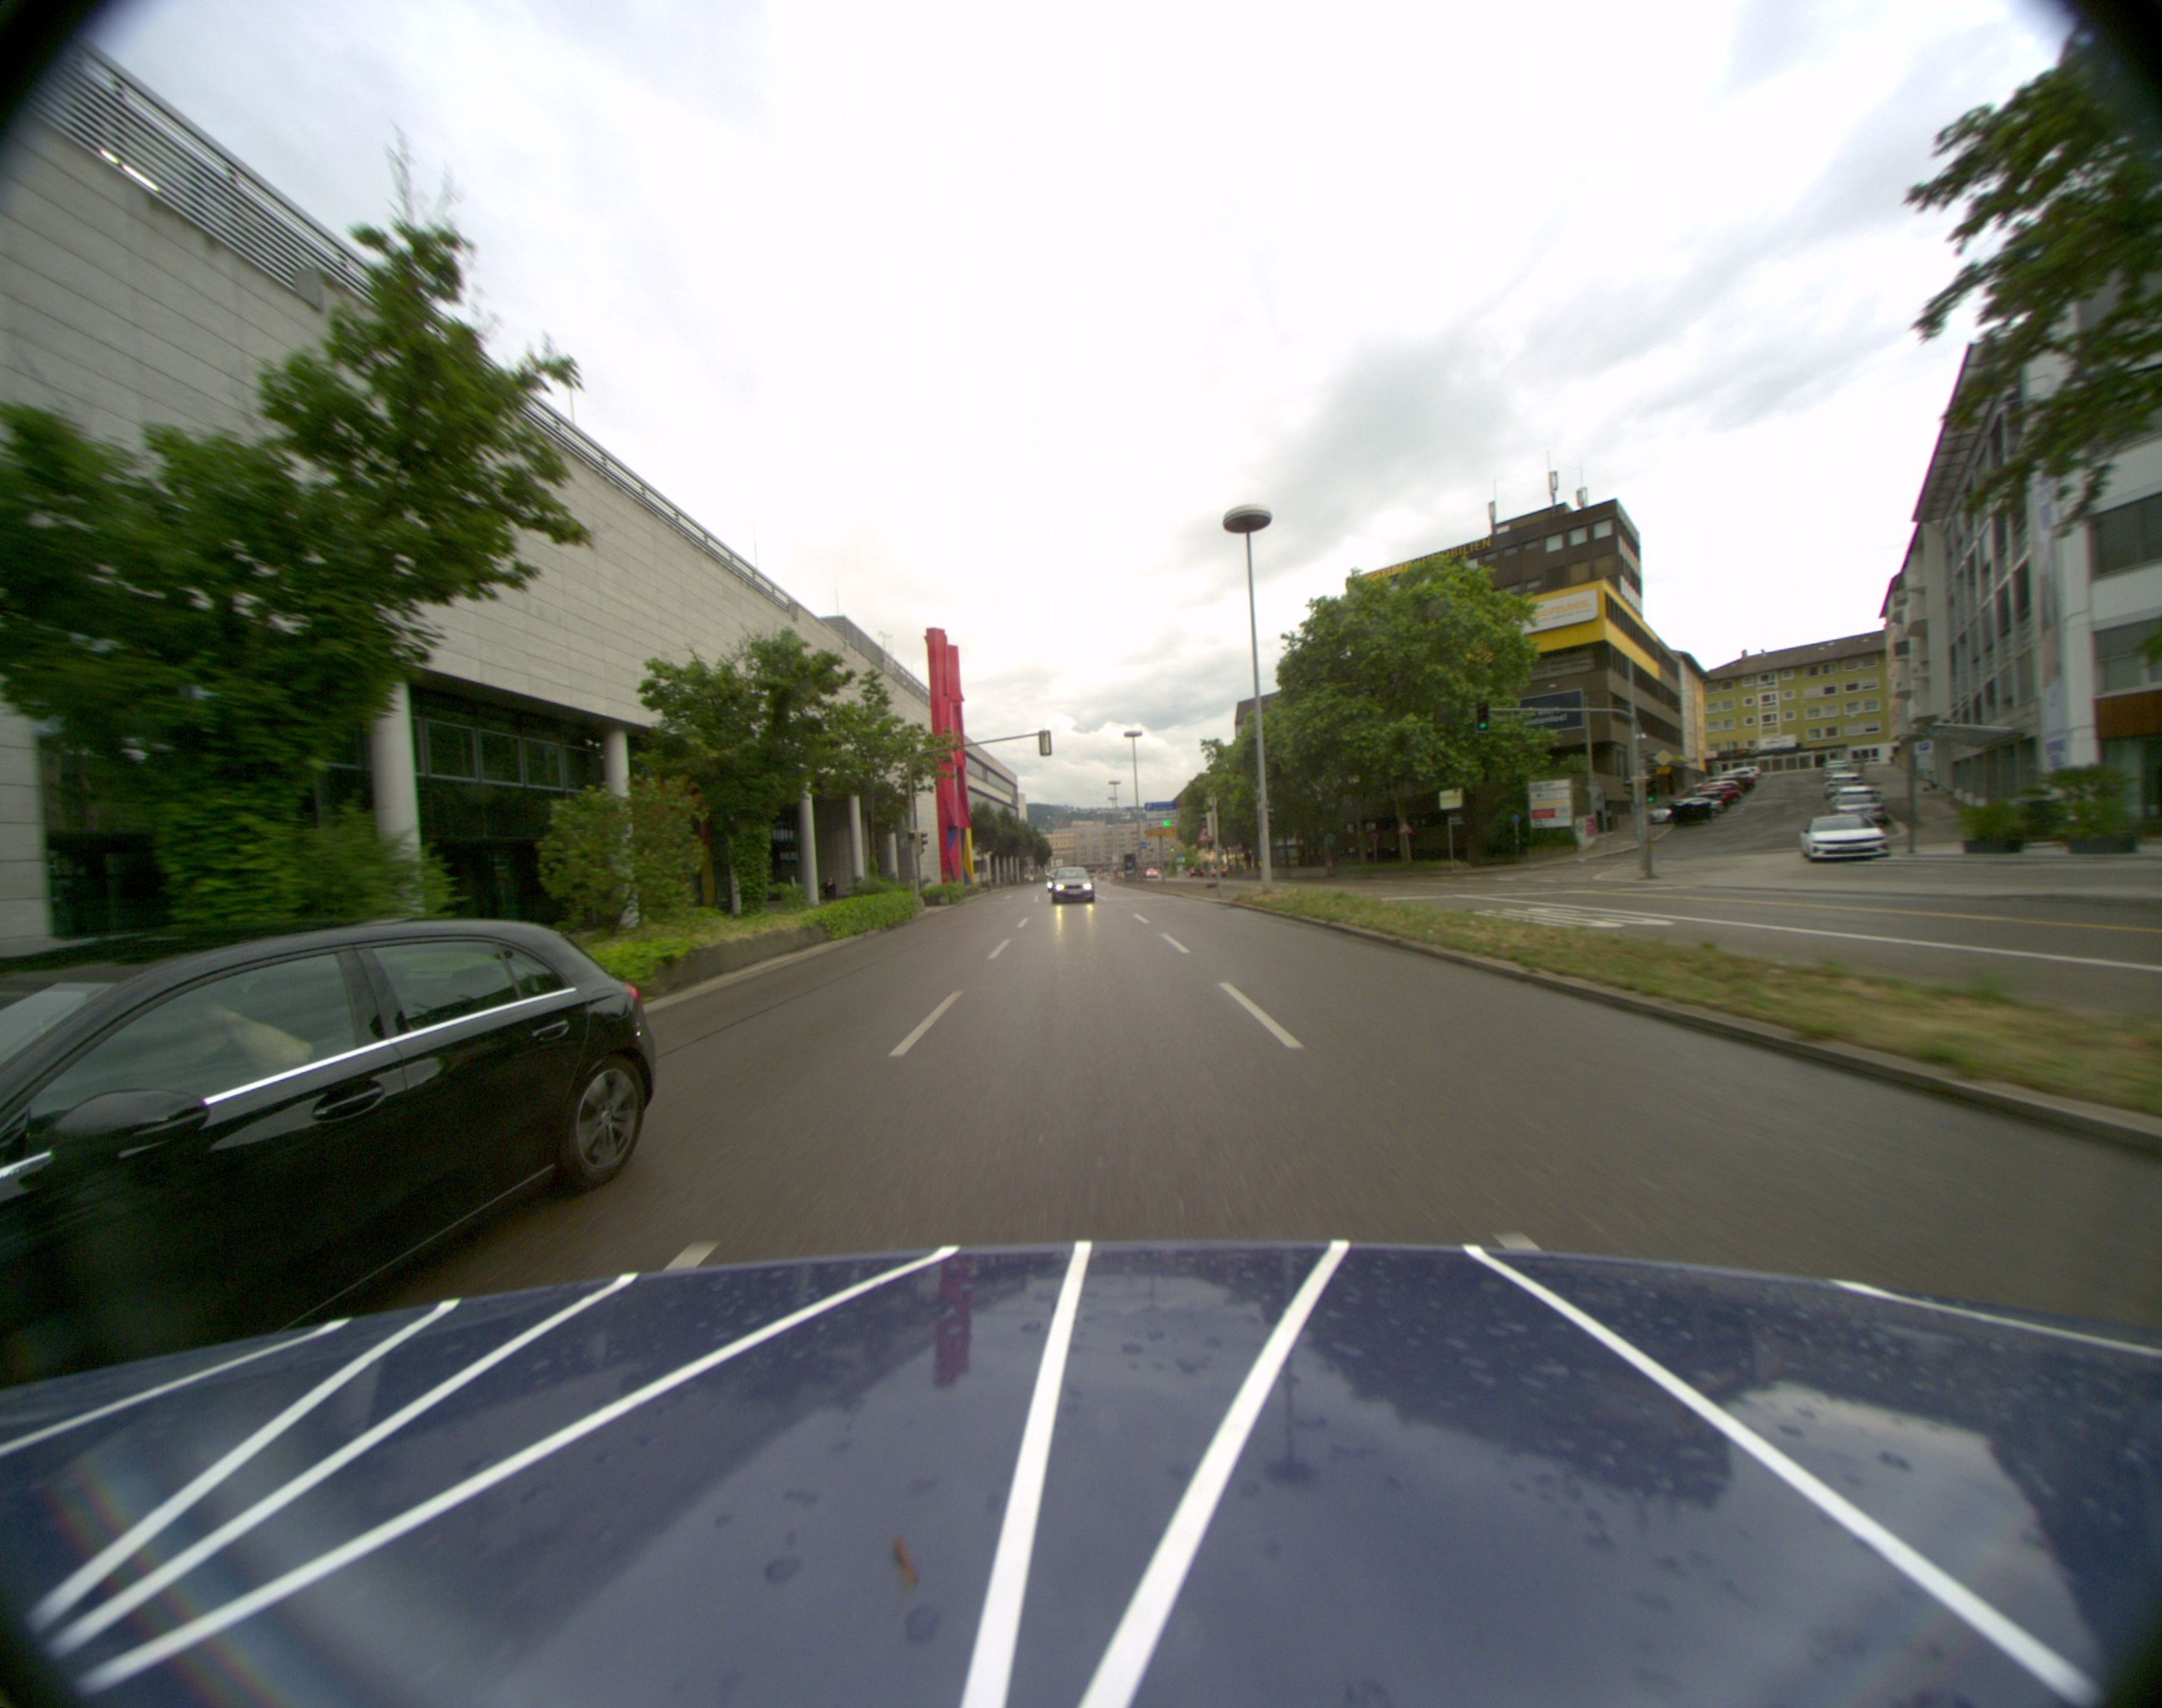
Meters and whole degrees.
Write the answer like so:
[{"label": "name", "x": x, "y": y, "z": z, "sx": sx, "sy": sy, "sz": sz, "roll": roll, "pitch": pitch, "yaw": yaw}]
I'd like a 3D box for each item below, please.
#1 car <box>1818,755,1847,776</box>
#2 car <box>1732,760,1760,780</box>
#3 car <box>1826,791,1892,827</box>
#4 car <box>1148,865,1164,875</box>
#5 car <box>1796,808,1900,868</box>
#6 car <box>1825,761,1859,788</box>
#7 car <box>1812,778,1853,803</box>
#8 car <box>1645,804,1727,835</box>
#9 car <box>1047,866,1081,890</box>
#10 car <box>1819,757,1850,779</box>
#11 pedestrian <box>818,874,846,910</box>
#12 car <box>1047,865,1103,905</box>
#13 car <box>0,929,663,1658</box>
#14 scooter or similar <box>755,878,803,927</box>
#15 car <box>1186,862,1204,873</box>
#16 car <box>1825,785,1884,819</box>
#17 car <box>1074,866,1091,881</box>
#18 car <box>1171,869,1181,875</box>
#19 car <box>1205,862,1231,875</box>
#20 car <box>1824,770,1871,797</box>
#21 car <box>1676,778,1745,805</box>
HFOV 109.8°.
[{"label": "car", "x": 76.179, "y": -8.957, "z": 77.042, "sx": 1.995, "sy": 1.806, "sz": 4.005, "roll": -3, "pitch": 4, "yaw": 45}, {"label": "car", "x": 66.799, "y": -8.475, "z": 76.334, "sx": 1.815, "sy": 1.675, "sz": 4.005, "roll": -3, "pitch": 4, "yaw": 45}, {"label": "car", "x": 38.857, "y": -2.273, "z": 38.041, "sx": 1.995, "sy": 1.457, "sz": 4.495, "roll": -5, "pitch": 1, "yaw": 43}, {"label": "car", "x": 11.784, "y": 2.510, "z": 119.186, "sx": 1.759, "sy": 1.509, "sz": 3.740, "roll": -2, "pitch": -2, "yaw": -5}, {"label": "car", "x": 25.667, "y": -0.592, "z": 25.607, "sx": 1.995, "sy": 1.644, "sz": 4.851, "roll": -5, "pitch": 1, "yaw": 41}, {"label": "car", "x": 66.786, "y": -7.006, "z": 66.743, "sx": 1.995, "sy": 2.003, "sz": 4.005, "roll": -3, "pitch": 4, "yaw": 45}, {"label": "car", "x": 56.150, "y": -4.739, "z": 56.823, "sx": 1.995, "sy": 1.566, "sz": 4.495, "roll": -5, "pitch": 1, "yaw": 43}, {"label": "car", "x": 39.703, "y": -2.249, "z": 49.930, "sx": 3.990, "sy": 1.674, "sz": 1.824, "roll": -3, "pitch": 0, "yaw": 45}, {"label": "car", "x": -1.039, "y": 1.528, "z": 48.758, "sx": 1.863, "sy": 1.449, "sz": 4.207, "roll": -1, "pitch": -1, "yaw": 2}, {"label": "car", "x": 70.912, "y": -8.089, "z": 71.526, "sx": 1.995, "sy": 1.806, "sz": 4.005, "roll": -3, "pitch": 4, "yaw": 45}, {"label": "pedestrian", "x": -11.178, "y": 1.690, "z": 34.139, "sx": 0.972, "sy": 1.577, "sz": 0.842, "roll": -2, "pitch": -1, "yaw": -2}, {"label": "car", "x": -0.188, "y": 1.232, "z": 31.654, "sx": 1.862, "sy": 1.428, "sz": 4.207, "roll": -3, "pitch": 0, "yaw": 5}, {"label": "car", "x": -3.345, "y": 1.118, "z": 2.134, "sx": 1.877, "sy": 1.428, "sz": 4.207, "roll": -3, "pitch": -1, "yaw": 2}, {"label": "scooter or similar", "x": -10.065, "y": 1.606, "z": 25.360, "sx": 1.326, "sy": 1.521, "sz": 0.503, "roll": -4, "pitch": -1, "yaw": 4}, {"label": "car", "x": 16.150, "y": 1.907, "z": 108.005, "sx": 1.758, "sy": 1.510, "sz": 4.171, "roll": -2, "pitch": -1, "yaw": -1}, {"label": "car", "x": 42.795, "y": -2.889, "z": 42.134, "sx": 1.995, "sy": 1.566, "sz": 4.495, "roll": -5, "pitch": 1, "yaw": 43}, {"label": "car", "x": 0.210, "y": 2.762, "z": 108.002, "sx": 1.998, "sy": 2.001, "sz": 4.002, "roll": -2, "pitch": -1, "yaw": 4}, {"label": "car", "x": 24.138, "y": 4.621, "z": 193.488, "sx": 1.938, "sy": 1.428, "sz": 4.508, "roll": -2, "pitch": -1, "yaw": 2}, {"label": "car", "x": 16.833, "y": 1.766, "z": 93.627, "sx": 1.999, "sy": 1.438, "sz": 4.880, "roll": -2, "pitch": -1, "yaw": -4}, {"label": "car", "x": 52.414, "y": -4.801, "z": 52.016, "sx": 1.995, "sy": 1.566, "sz": 4.495, "roll": -5, "pitch": 1, "yaw": 43}, {"label": "car", "x": 49.393, "y": -4.884, "z": 59.640, "sx": 3.989, "sy": 1.675, "sz": 1.823, "roll": -3, "pitch": 4, "yaw": 45}]
